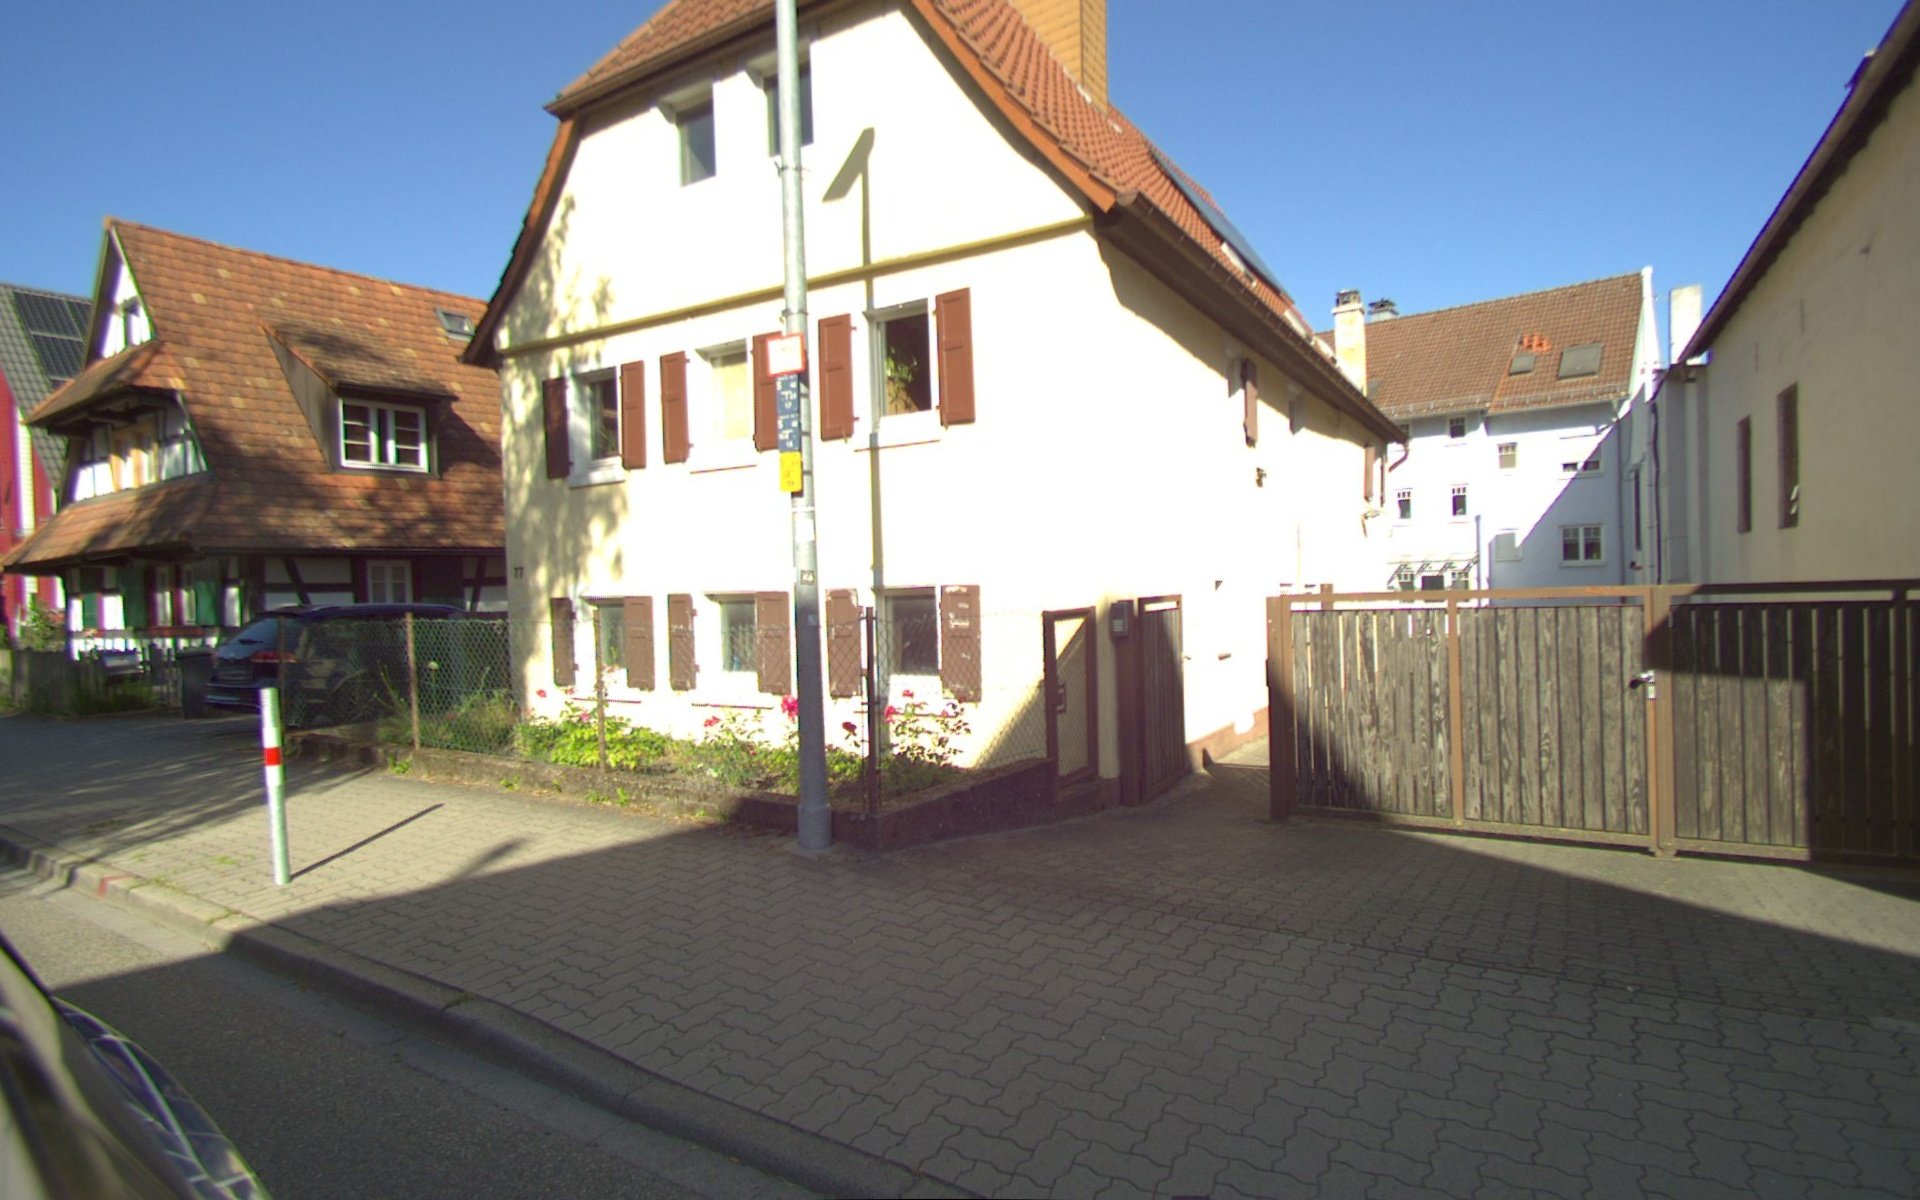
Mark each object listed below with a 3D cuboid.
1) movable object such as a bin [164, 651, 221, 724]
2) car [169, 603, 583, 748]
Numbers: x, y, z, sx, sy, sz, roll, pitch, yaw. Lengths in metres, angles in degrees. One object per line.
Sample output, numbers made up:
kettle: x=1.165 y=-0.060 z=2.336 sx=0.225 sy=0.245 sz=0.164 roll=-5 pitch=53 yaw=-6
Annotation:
movable object such as a bin: x=-10.054 y=1.133 z=13.270 sx=0.576 sy=0.904 sz=0.556 roll=1 pitch=-2 yaw=-36
car: x=-7.011 y=0.818 z=12.617 sx=1.841 sy=1.473 sz=4.130 roll=-2 pitch=-2 yaw=29
